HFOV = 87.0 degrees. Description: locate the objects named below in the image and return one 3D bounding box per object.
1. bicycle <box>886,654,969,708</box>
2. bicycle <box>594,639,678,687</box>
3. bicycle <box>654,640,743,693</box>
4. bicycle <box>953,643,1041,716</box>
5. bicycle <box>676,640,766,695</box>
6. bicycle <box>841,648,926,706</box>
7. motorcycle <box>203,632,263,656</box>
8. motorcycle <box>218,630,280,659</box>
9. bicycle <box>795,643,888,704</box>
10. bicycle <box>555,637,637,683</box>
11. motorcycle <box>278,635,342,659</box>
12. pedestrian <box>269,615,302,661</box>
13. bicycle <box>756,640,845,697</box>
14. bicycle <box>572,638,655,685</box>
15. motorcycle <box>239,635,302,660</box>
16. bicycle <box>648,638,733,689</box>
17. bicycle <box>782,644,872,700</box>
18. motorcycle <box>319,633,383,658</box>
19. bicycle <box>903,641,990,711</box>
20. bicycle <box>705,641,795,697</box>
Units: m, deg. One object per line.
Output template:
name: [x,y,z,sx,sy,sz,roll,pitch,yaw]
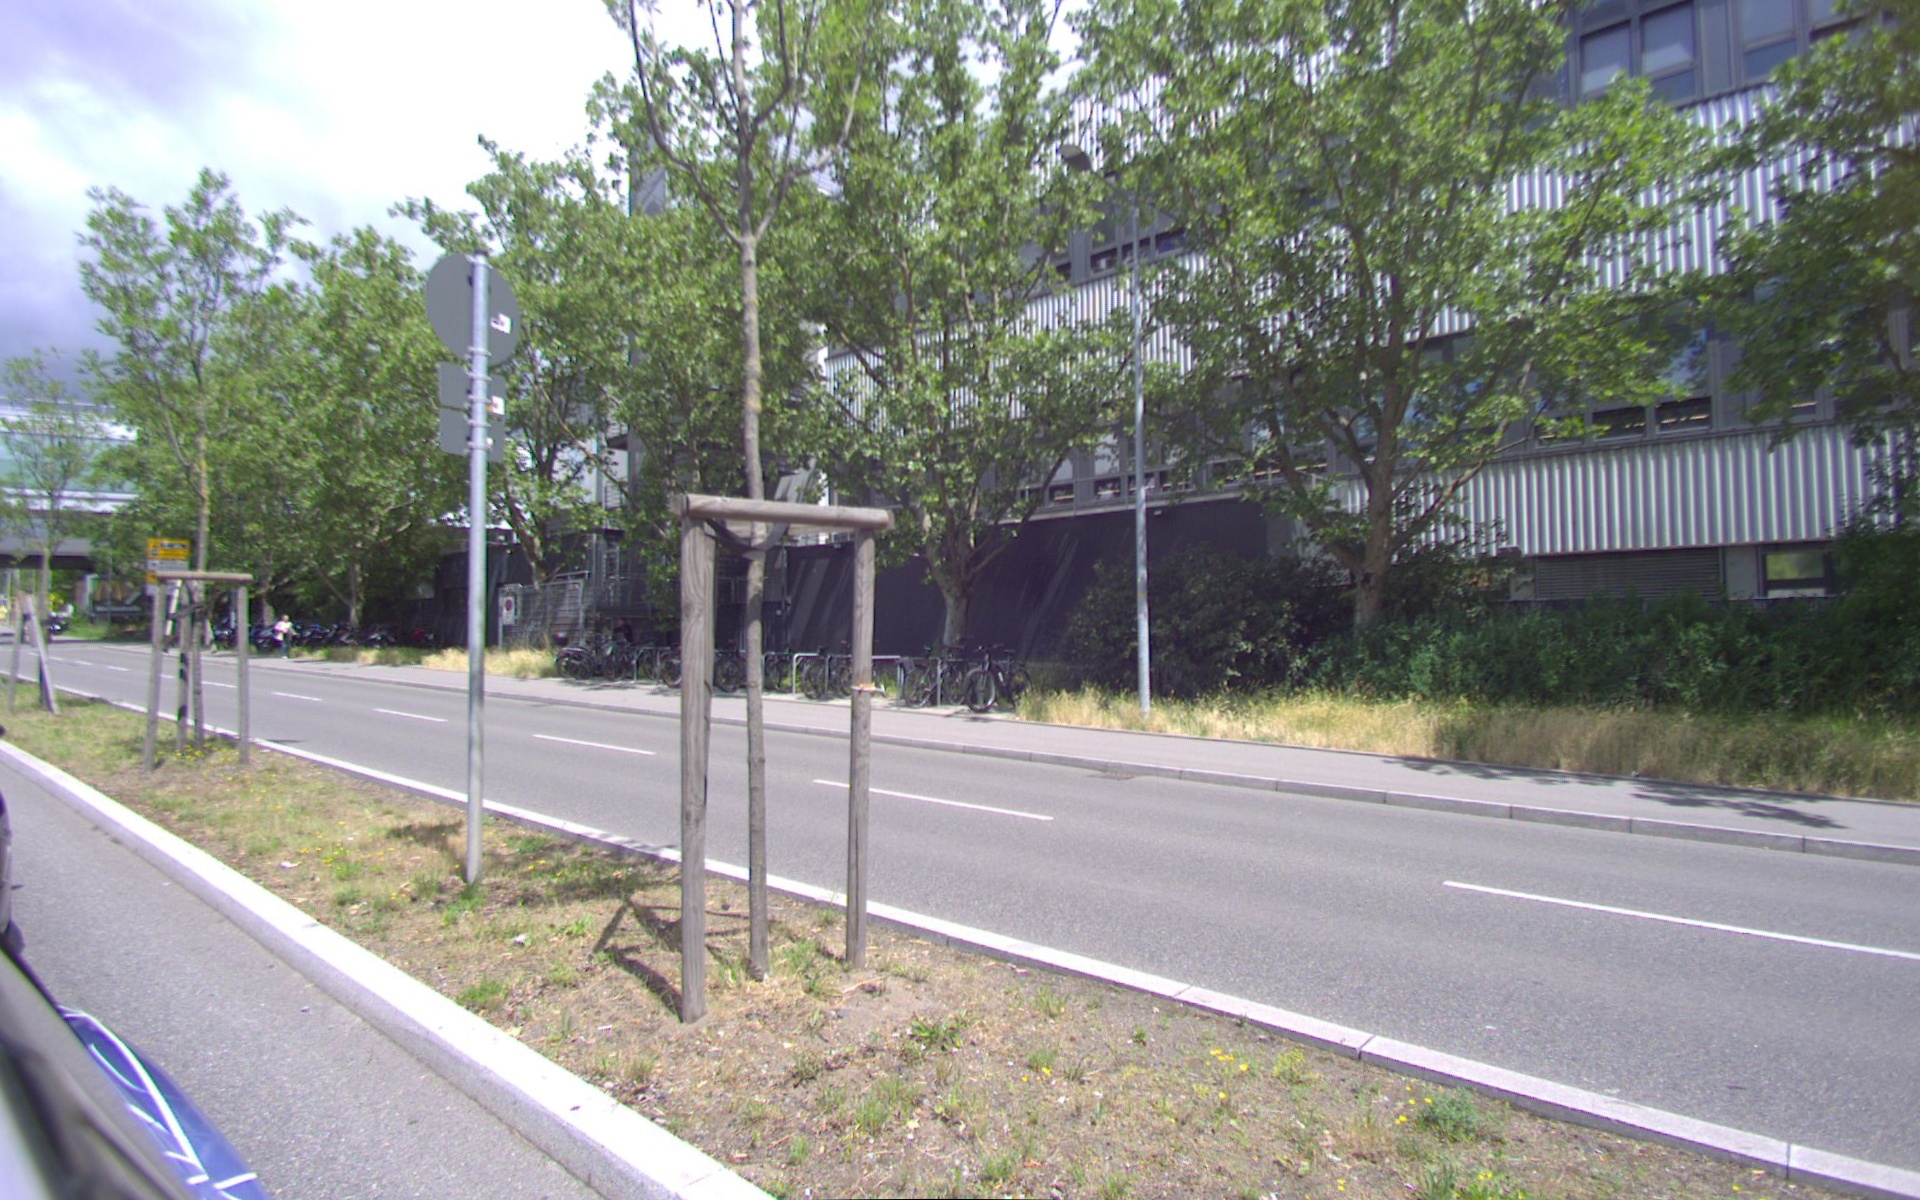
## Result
bicycle: [-0.592,1.519,19.208,0.381,0.897,1.968,-2,-1,39]
bicycle: [-8.155,1.565,25.525,0.382,1.119,2.101,-2,-1,43]
bicycle: [-5.984,1.498,23.251,0.382,1.119,2.101,-2,-1,43]
bicycle: [0.665,1.337,17.385,0.381,1.137,1.968,-2,-1,39]
bicycle: [-5.328,1.487,22.654,0.382,1.119,2.101,-2,-1,43]
bicycle: [-1.464,1.475,19.694,0.381,1.005,1.968,-2,-1,39]
motorcycle: [-32.099,1.932,44.702,0.534,0.976,2.105,-2,-1,41]
motorcycle: [-30.101,1.883,42.876,0.534,1.146,2.105,-2,-1,41]
bicycle: [-2.334,1.433,20.215,0.382,1.104,2.101,-2,-1,43]
bicycle: [-9.540,1.550,26.619,0.382,1.119,2.101,-2,-1,43]
motorcycle: [-26.168,1.879,40.764,0.534,0.892,2.105,-2,-1,41]
pedestrian: [-25.609,1.444,38.411,0.672,1.734,0.888,-2,-2,41]
bicycle: [-3.406,1.455,21.738,0.382,1.119,2.101,-2,-1,43]
bicycle: [-8.899,1.569,26.073,0.382,1.119,2.101,-2,-1,43]
motorcycle: [-28.708,1.949,42.183,0.534,0.976,2.105,-2,-1,41]
bicycle: [-6.475,1.510,24.401,0.382,1.119,2.101,-2,-1,43]
bicycle: [-2.738,1.478,21.124,0.382,1.038,2.101,-2,-1,43]
motorcycle: [-23.946,1.789,39.842,0.534,0.905,2.105,-2,-1,41]
bicycle: [-0.214,1.334,18.107,0.381,1.137,1.968,-2,-1,39]
bicycle: [-4.537,1.478,22.004,0.382,1.119,2.101,-2,-1,43]
